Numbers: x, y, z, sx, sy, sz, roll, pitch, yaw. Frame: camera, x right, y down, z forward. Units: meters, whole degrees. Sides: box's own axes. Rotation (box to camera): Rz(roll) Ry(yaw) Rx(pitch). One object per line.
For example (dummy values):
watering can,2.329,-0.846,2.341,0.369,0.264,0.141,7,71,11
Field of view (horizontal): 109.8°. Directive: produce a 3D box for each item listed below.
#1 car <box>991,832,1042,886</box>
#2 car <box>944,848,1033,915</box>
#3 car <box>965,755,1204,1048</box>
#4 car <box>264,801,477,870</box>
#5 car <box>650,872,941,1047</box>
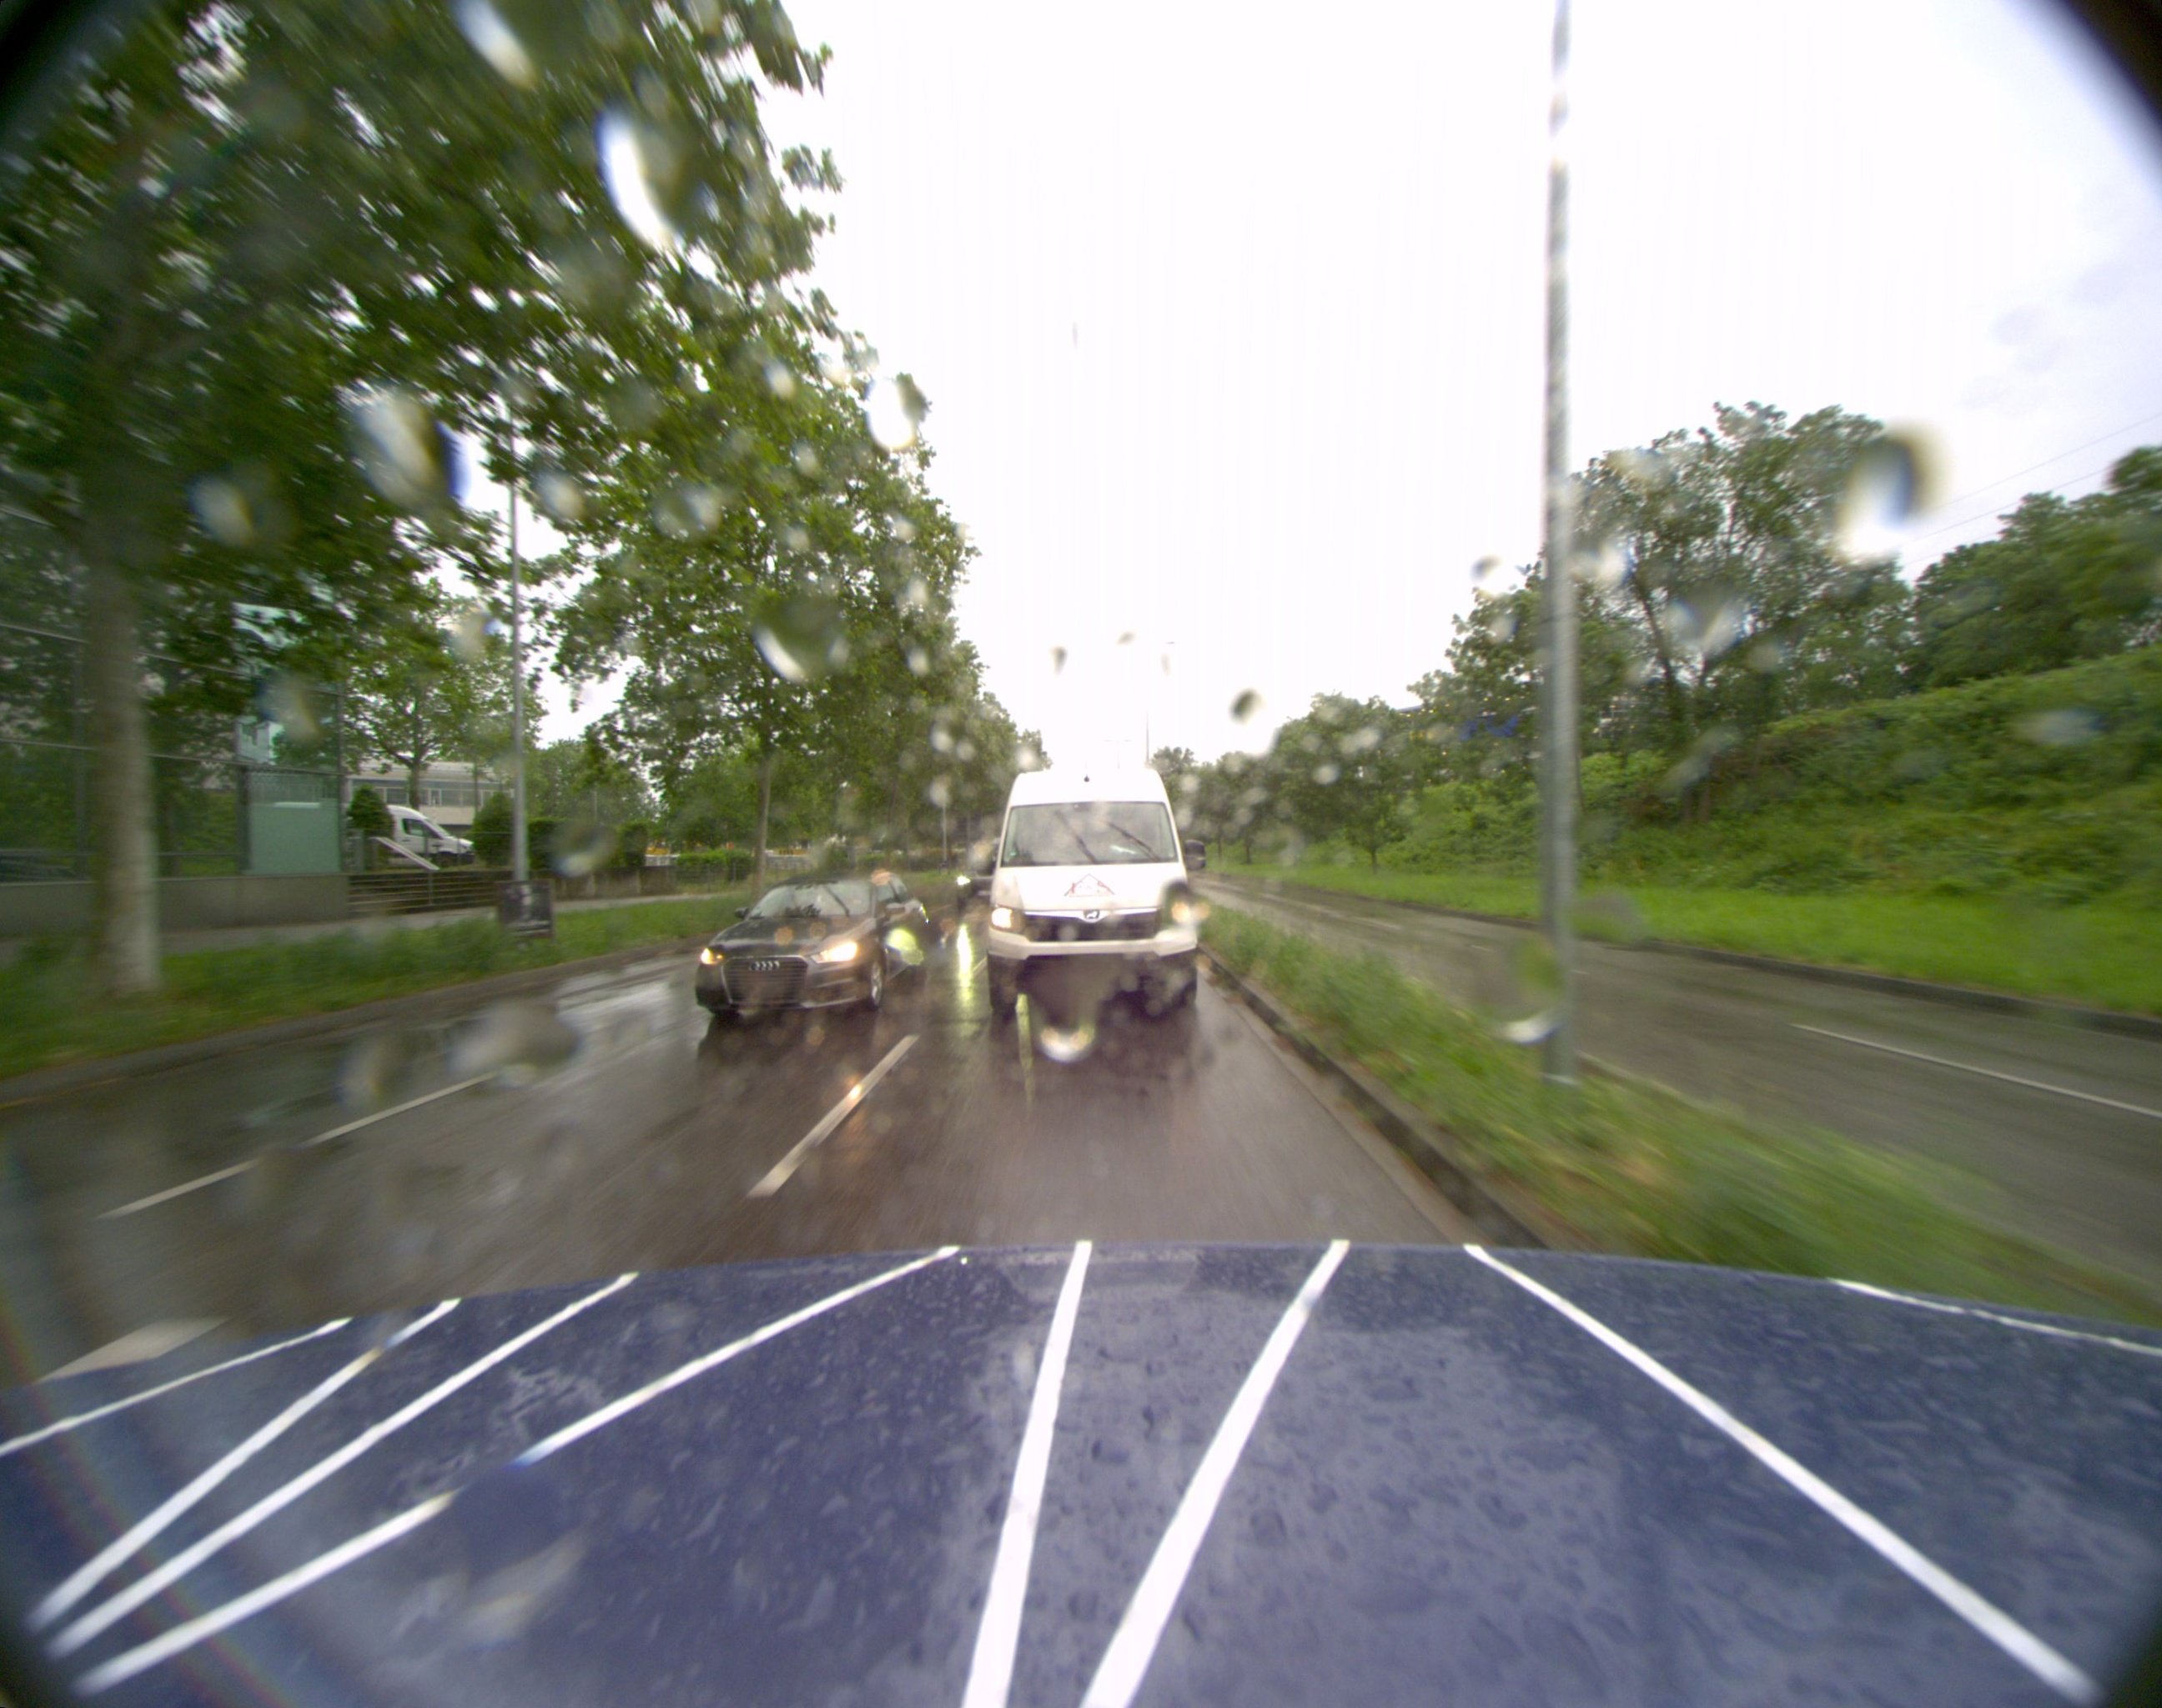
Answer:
car,-3.074,0.206,37.136,1.998,2.416,4.977,0,1,1
car,-2.590,0.709,22.268,1.998,1.738,4.327,0,1,1
car,0.052,0.369,9.298,1.969,2.419,5.960,0,1,0
car,-27.212,-0.753,29.469,5.706,2.442,1.995,-3,1,-36
car,-2.915,1.003,8.720,1.841,1.390,3.753,-2,1,1
